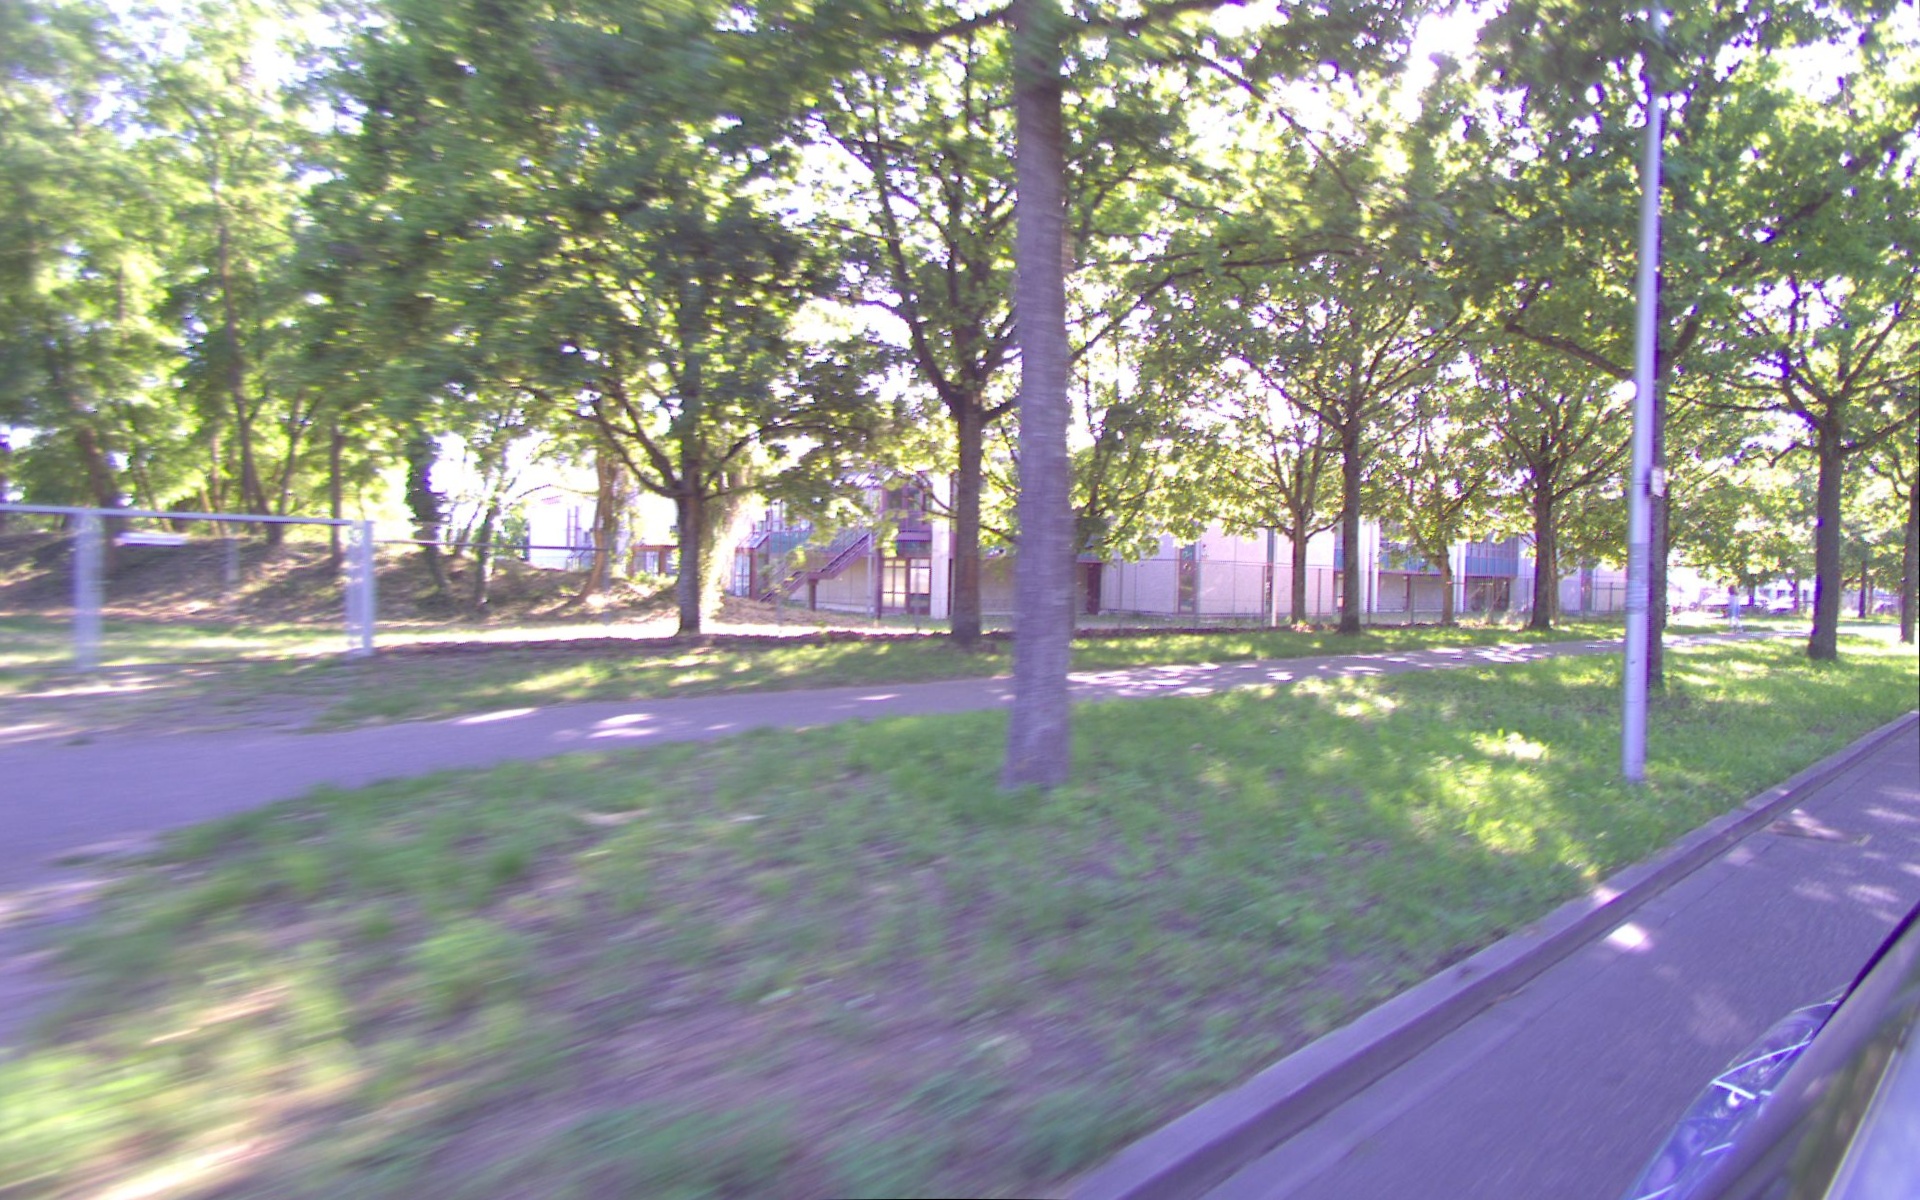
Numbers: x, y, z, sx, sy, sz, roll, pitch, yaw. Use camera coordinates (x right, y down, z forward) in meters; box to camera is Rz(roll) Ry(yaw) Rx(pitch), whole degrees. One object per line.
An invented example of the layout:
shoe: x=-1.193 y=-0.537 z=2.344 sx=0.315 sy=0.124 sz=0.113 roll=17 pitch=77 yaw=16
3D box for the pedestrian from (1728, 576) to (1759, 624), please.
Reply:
pedestrian: x=27.349 y=-0.006 z=35.325 sx=0.706 sy=1.650 sz=0.610 roll=1 pitch=3 yaw=-38

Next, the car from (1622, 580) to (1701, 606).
car: x=58.628 y=-0.602 z=84.598 sx=1.862 sy=1.983 sz=5.074 roll=0 pitch=3 yaw=-40
